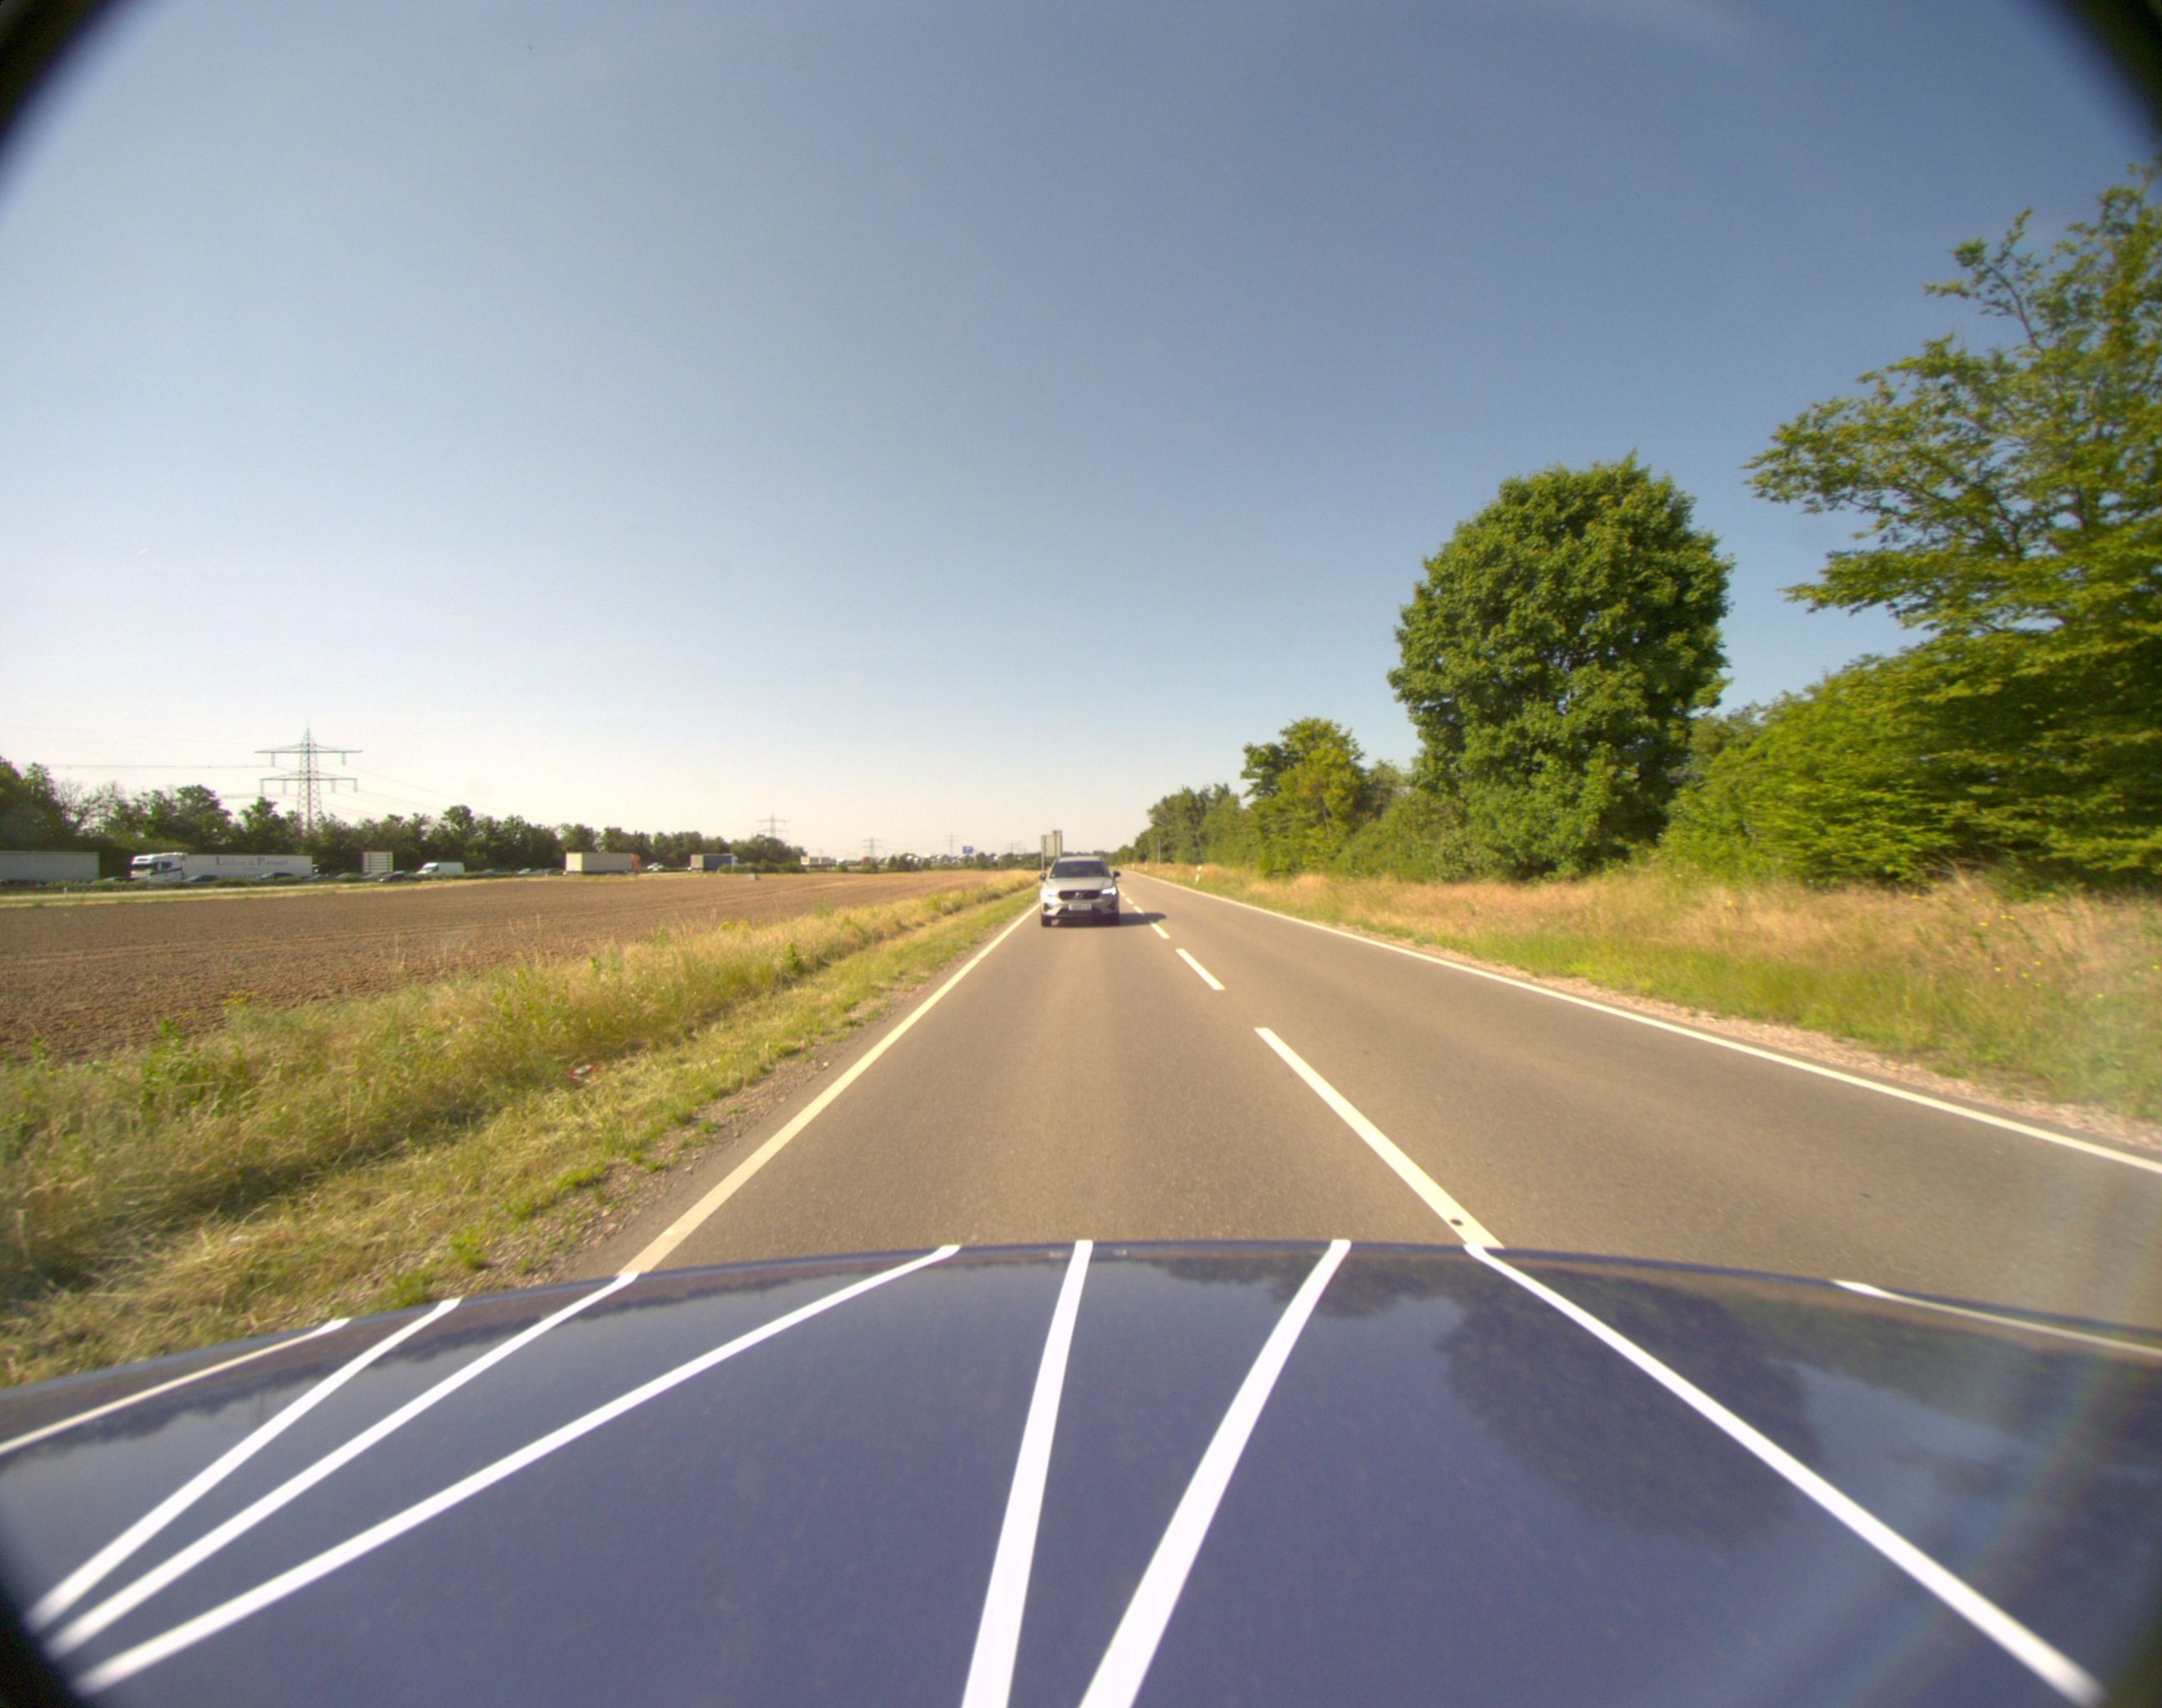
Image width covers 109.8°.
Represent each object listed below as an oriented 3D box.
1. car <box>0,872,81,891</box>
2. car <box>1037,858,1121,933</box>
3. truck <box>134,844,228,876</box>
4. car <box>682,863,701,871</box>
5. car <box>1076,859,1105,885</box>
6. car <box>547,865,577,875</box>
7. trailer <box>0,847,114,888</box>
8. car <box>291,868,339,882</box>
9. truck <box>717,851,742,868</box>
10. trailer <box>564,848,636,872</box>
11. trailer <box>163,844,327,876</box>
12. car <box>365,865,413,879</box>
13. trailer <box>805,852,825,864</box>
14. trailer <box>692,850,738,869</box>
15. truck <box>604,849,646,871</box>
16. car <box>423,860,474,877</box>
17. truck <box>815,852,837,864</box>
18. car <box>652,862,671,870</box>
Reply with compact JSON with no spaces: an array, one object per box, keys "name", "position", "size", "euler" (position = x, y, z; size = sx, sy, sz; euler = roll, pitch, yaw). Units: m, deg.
[{"name":"car","position":[-94.595,2.511,69.121],"size":[1.707,1.500,4.094],"euler":[-3,0,1]},{"name":"car","position":[0.001,0.943,19.214],"size":[1.840,1.627,4.136],"euler":[-2,0,1]},{"name":"truck","position":[-100.494,0.645,84.995],"size":[3.210,3.510,6.109],"euler":[0,0,0]},{"name":"car","position":[-85.573,2.865,166.886],"size":[1.998,1.566,3.894],"euler":[-3,0,1]},{"name":"car","position":[0.643,1.198,52.164],"size":[1.840,1.627,4.135],"euler":[-2,0,1]},{"name":"car","position":[-87.326,2.711,127.891],"size":[1.910,1.603,4.474],"euler":[-3,0,3]},{"name":"trailer","position":[-100.833,1.290,71.106],"size":[2.952,3.711,13.783],"euler":[-1,0,1]},{"name":"car","position":[-95.381,2.592,94.698],"size":[1.707,1.500,4.094],"euler":[-3,0,1]},{"name":"truck","position":[-80.086,1.236,173.284],"size":[3.080,3.779,5.611],"euler":[-2,-1,-1]},{"name":"trailer","position":[-81.657,1.050,129.466],"size":[3.111,3.826,13.720],"euler":[-2,0,1]},{"name":"trailer","position":[-100.434,0.667,92.045],"size":[3.210,3.510,15.083],"euler":[0,0,0]},{"name":"car","position":[-82.050,2.114,90.128],"size":[1.707,1.534,4.197],"euler":[-3,0,1]},{"name":"trailer","position":[-78.545,1.226,224.272],"size":[2.800,3.395,8.718],"euler":[-1,0,0]},{"name":"trailer","position":[-80.027,1.213,166.458],"size":[3.080,3.779,14.592],"euler":[-2,-1,-1]},{"name":"truck","position":[-81.520,1.069,135.902],"size":[3.111,3.826,6.951],"euler":[-2,0,1]},{"name":"car","position":[-95.146,2.135,114.422],"size":[2.042,2.432,6.414],"euler":[-2,0,2]},{"name":"truck","position":[-78.515,1.223,234.207],"size":[2.813,3.457,11.121],"euler":[-1,0,0]},{"name":"car","position":[-92.299,2.607,167.294],"size":[1.707,1.500,4.094],"euler":[-3,0,1]}]
